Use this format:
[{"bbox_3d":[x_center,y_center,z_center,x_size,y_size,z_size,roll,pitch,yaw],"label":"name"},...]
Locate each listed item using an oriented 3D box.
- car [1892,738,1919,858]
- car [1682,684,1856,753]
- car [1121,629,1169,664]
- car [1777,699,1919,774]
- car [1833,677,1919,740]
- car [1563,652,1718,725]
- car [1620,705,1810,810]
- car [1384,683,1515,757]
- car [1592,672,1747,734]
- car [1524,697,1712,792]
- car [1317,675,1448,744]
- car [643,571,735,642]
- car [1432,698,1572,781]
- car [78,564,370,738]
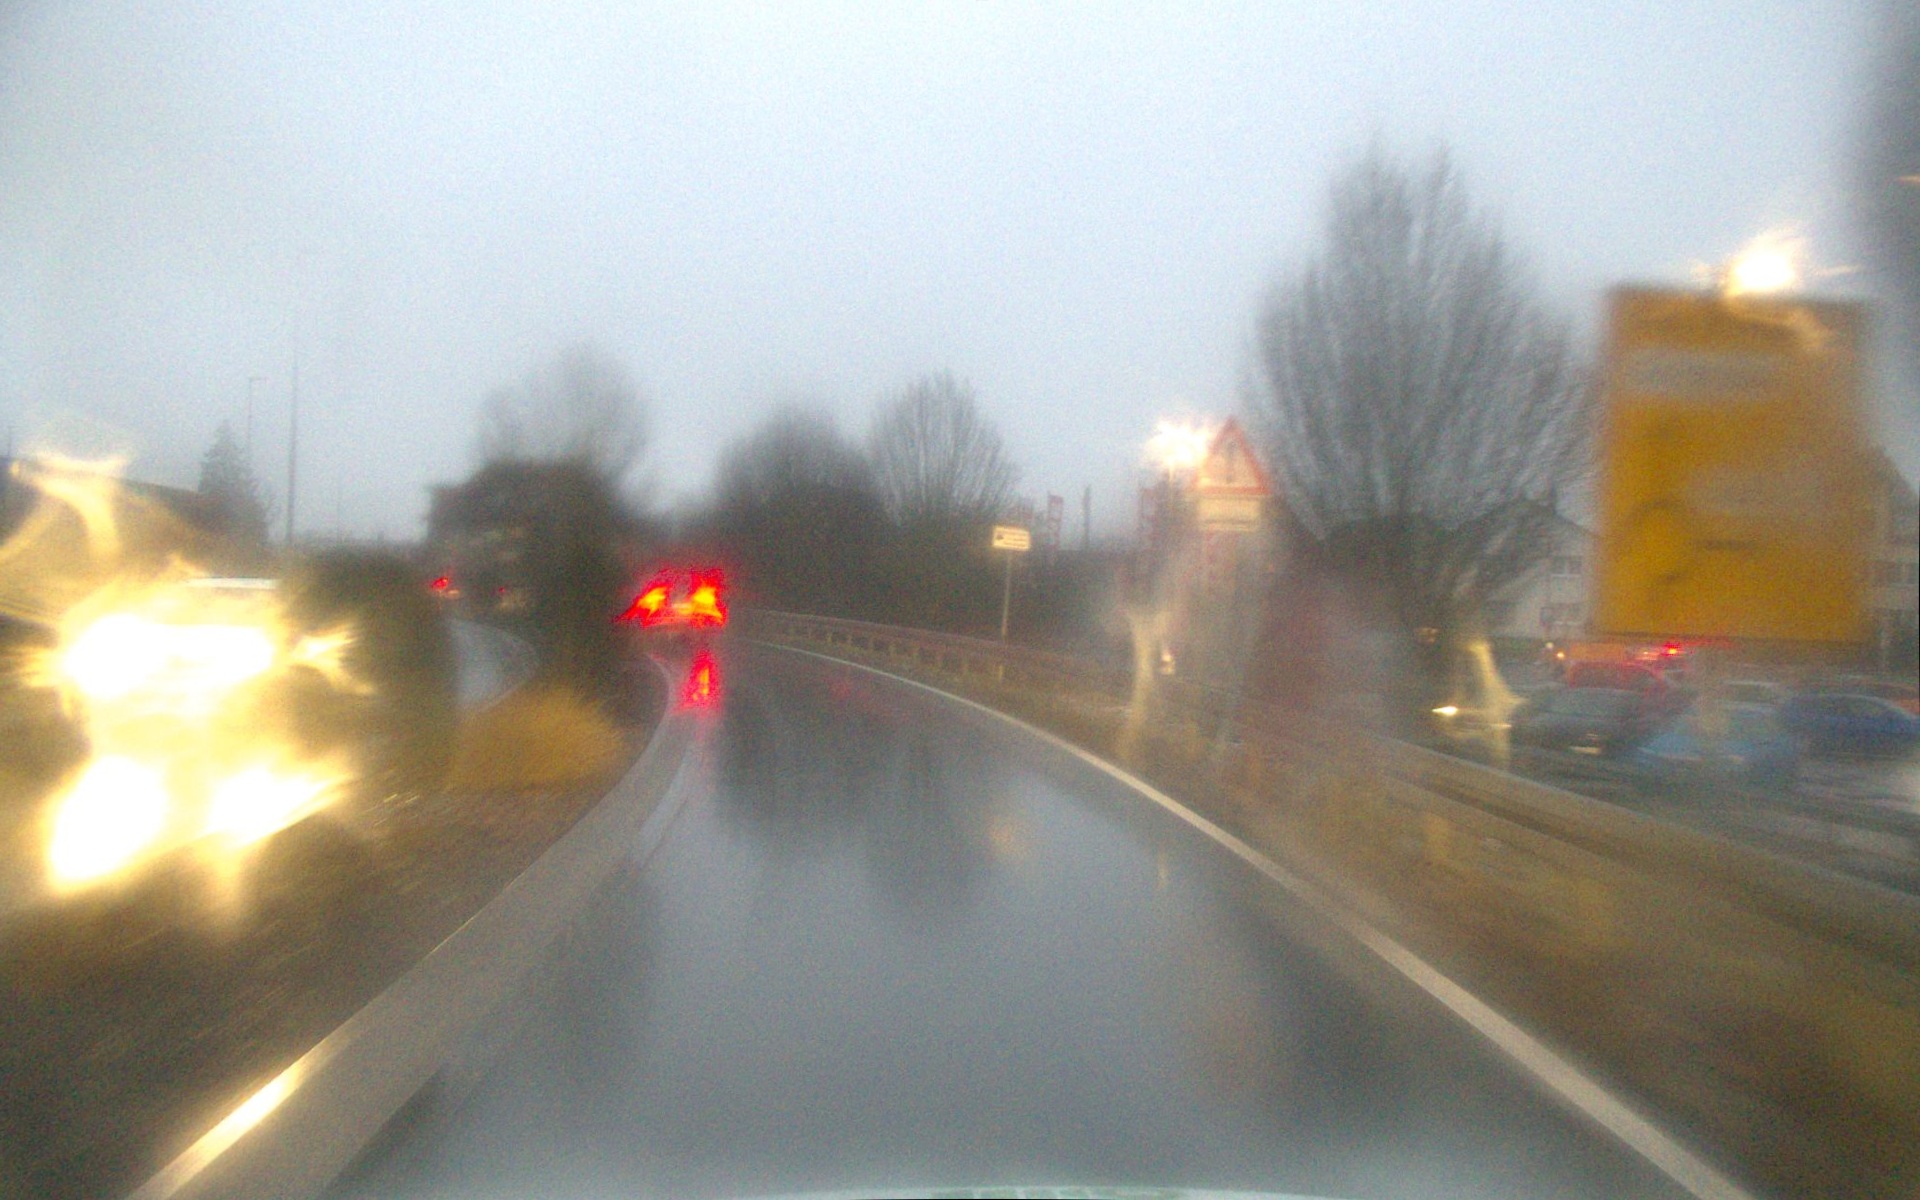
[{"bbox_3d":[14.142,2.552,22.060,1.872,1.421,4.672,0,0,44],"label":"car"},{"bbox_3d":[20.590,2.984,42.175,3.695,1.455,1.559,1,0,43],"label":"car"},{"bbox_3d":[8.977,2.255,80.474,1.897,1.574,4.000,1,0,1],"label":"car"},{"bbox_3d":[21.343,3.149,38.119,4.237,1.450,1.736,1,0,41],"label":"car"},{"bbox_3d":[25.773,2.946,44.697,3.758,1.526,1.565,1,0,32],"label":"car"},{"bbox_3d":[20.235,2.598,49.264,3.958,1.901,1.715,1,0,38],"label":"car"},{"bbox_3d":[13.158,2.668,28.710,1.870,1.421,4.155,0,0,42],"label":"car"},{"bbox_3d":[11.482,2.754,38.627,1.600,1.445,3.982,1,0,38],"label":"car"},{"bbox_3d":[19.787,2.846,46.220,1.556,1.455,3.702,1,0,-43],"label":"car"},{"bbox_3d":[12.557,2.684,31.411,1.897,1.480,4.560,0,-1,42],"label":"car"},{"bbox_3d":[10.695,2.709,41.698,1.762,1.464,3.982,1,0,38],"label":"car"},{"bbox_3d":[-7.230,0.170,43.875,1.913,1.748,3.982,2,-1,-16],"label":"car"},{"bbox_3d":[11.630,2.932,35.364,1.600,1.445,3.982,1,0,38],"label":"car"},{"bbox_3d":[-7.532,0.499,17.333,1.661,1.606,3.879,1,-1,-7],"label":"car"}]
